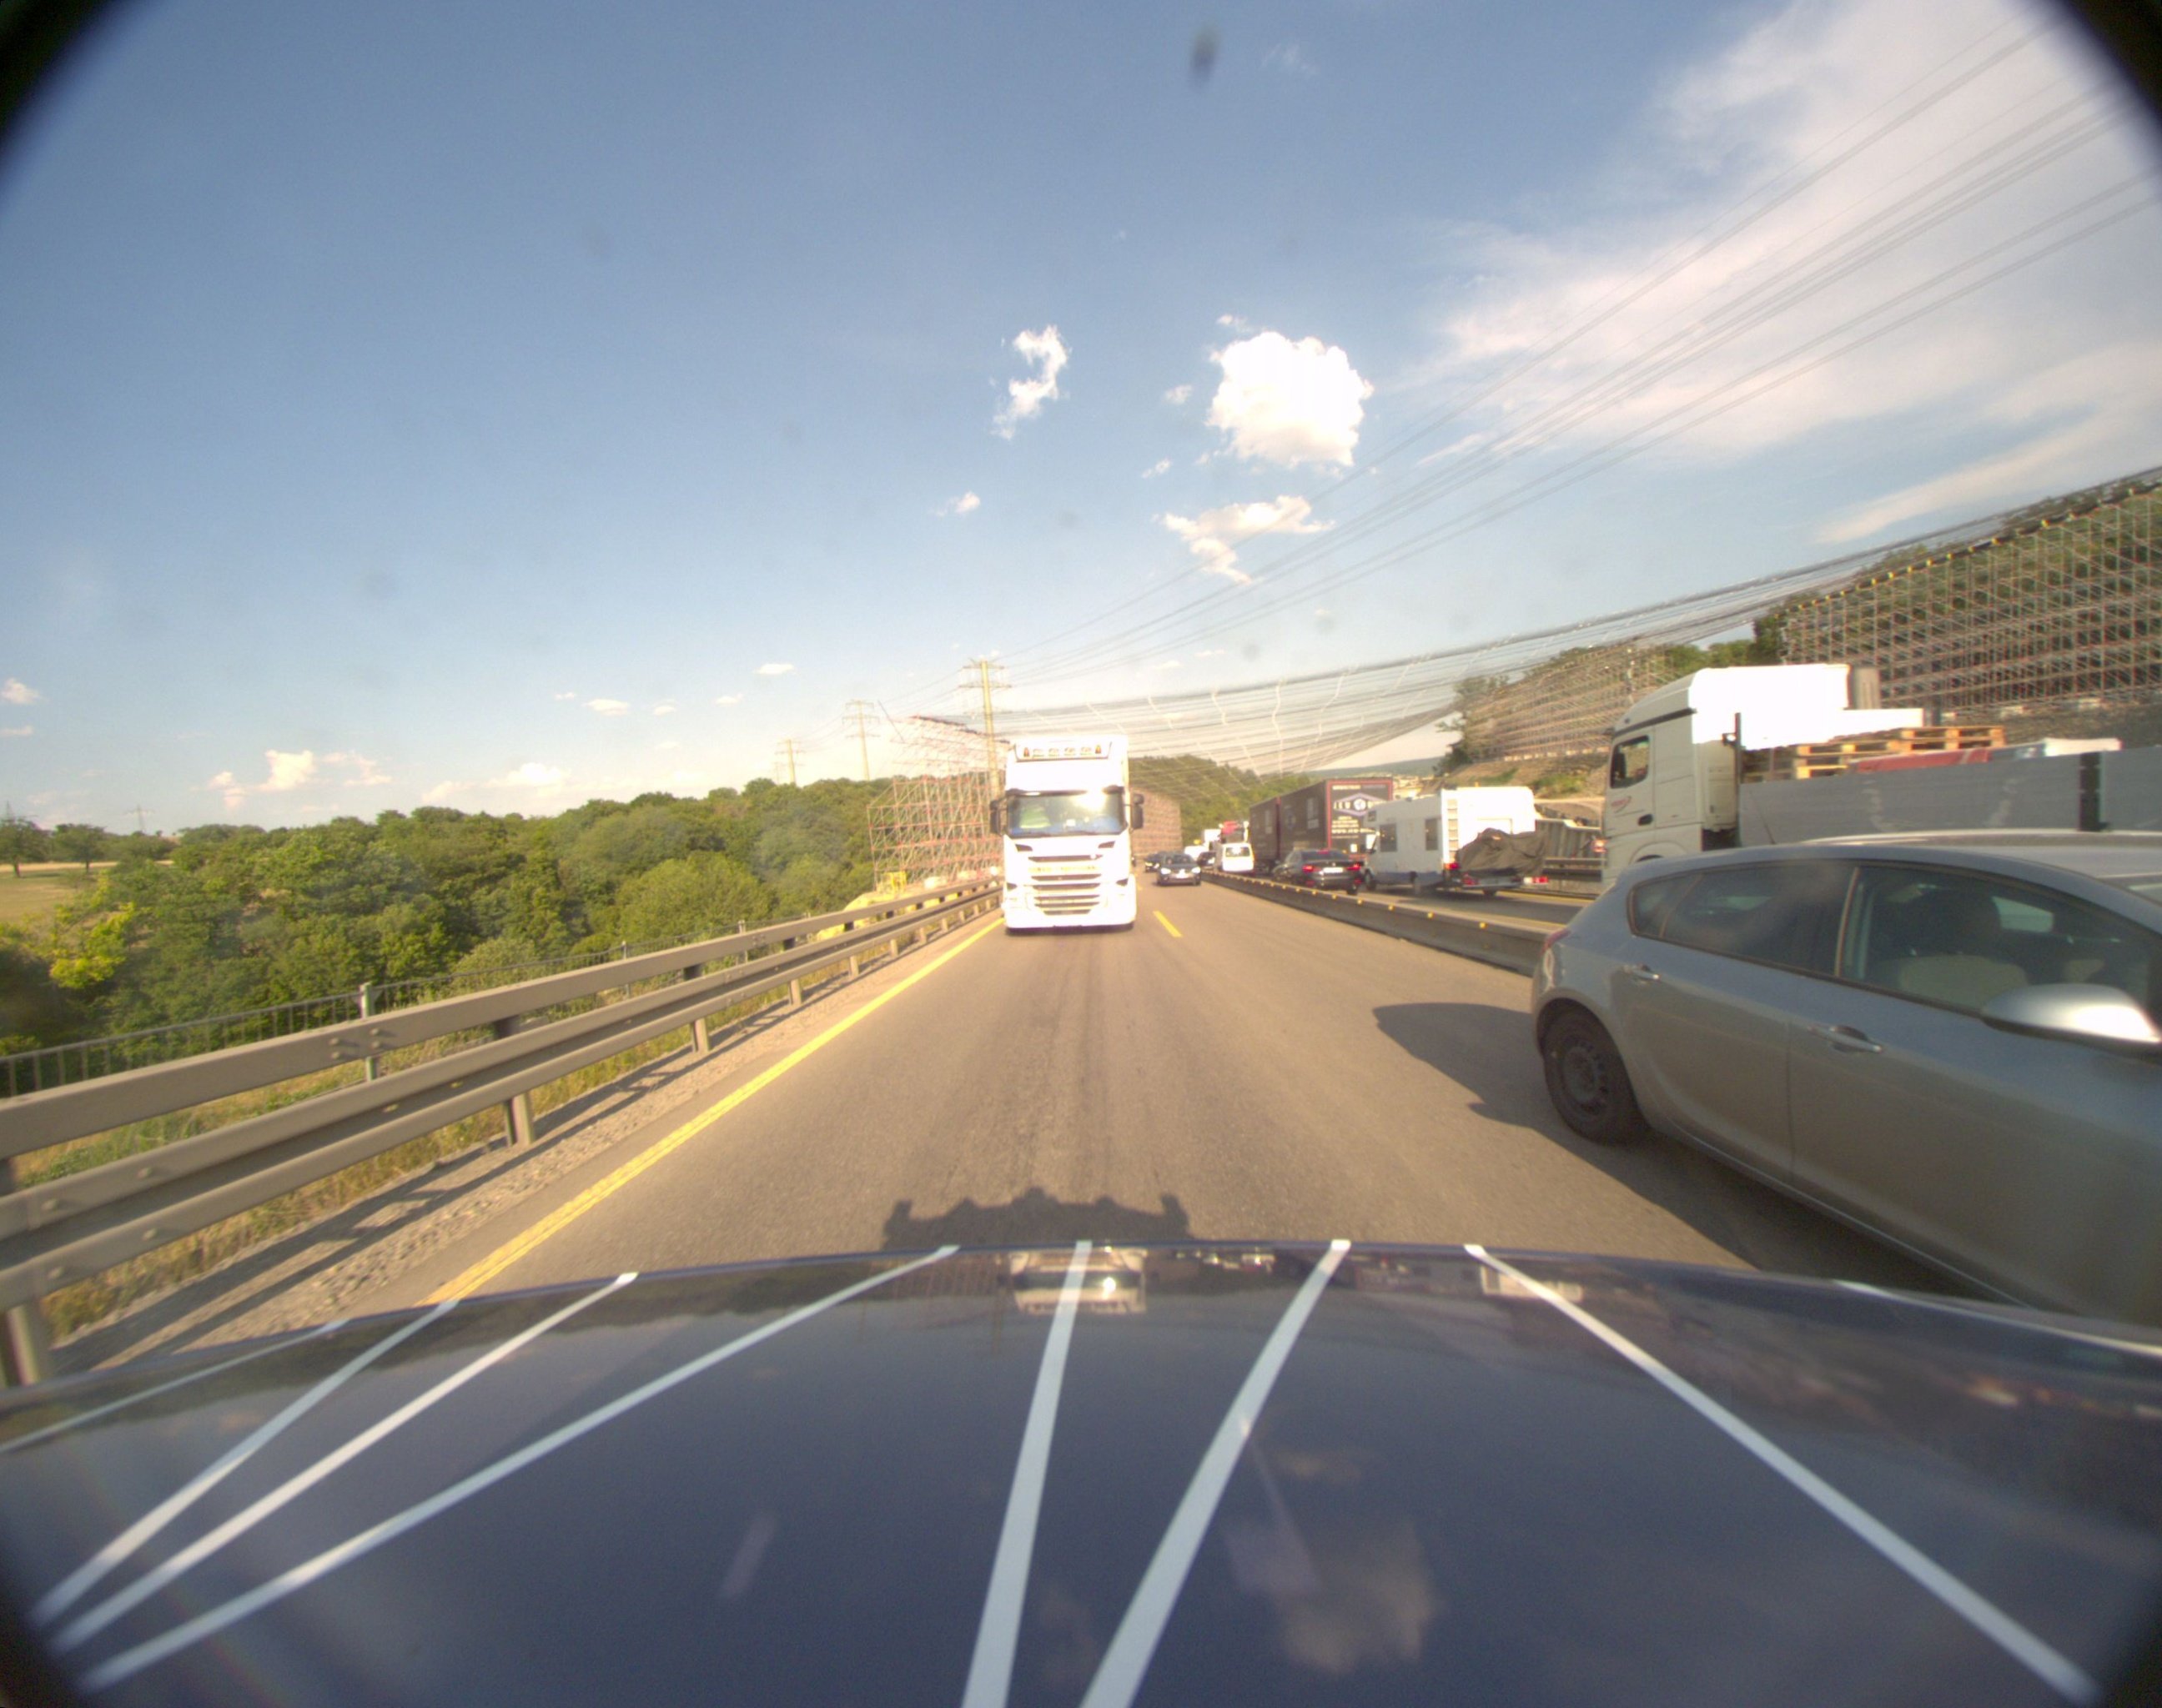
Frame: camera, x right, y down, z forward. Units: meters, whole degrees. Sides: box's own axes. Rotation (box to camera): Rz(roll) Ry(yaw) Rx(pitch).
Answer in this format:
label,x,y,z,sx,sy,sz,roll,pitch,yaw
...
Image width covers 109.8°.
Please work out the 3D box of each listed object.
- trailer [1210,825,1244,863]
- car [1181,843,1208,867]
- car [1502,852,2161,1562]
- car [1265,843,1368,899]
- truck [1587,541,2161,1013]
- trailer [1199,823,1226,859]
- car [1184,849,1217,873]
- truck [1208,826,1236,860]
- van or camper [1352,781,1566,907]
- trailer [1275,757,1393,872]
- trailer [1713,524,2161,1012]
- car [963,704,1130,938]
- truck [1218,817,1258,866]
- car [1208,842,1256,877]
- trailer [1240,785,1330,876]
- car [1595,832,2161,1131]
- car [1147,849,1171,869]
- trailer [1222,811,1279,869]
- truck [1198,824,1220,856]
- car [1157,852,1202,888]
label,x,y,z,sx,sy,sz,roll,pitch,yaw
trailer,14.052,-0.998,73.987,2.311,3.342,12.057,-2,1,7
car,9.644,0.062,64.821,1.821,1.914,4.836,-2,1,3
car,3.207,0.770,2.059,1.760,1.464,4.352,-2,1,1
car,7.102,0.451,23.410,1.798,1.502,4.586,-2,1,1
truck,9.604,-0.672,9.271,2.607,3.732,6.516,-2,1,2
trailer,16.026,-1.565,93.177,2.432,3.940,14.104,-2,1,7
car,7.956,0.423,50.870,1.684,1.470,4.603,-2,1,3
truck,14.781,-1.126,79.800,2.418,3.351,5.619,-2,1,7
van or camper,10.209,-0.268,21.580,2.414,2.875,7.618,-2,1,2
trailer,10.472,-1.508,32.470,2.448,4.165,8.544,-2,1,3
trailer,9.454,-0.651,2.887,2.526,3.703,13.976,-2,1,0
car,-0.349,-0.620,17.691,2.858,4.092,8.282,-2,1,4
truck,12.761,-1.032,62.116,2.438,3.763,5.618,-2,1,4
car,7.885,0.265,40.044,1.761,1.685,4.454,-2,1,3
trailer,10.949,-1.208,41.985,2.481,4.303,10.511,-2,1,3
car,6.391,0.617,5.997,1.763,1.499,4.254,-2,1,0
car,5.909,0.351,57.980,1.675,1.376,3.823,-2,1,4
trailer,12.357,-0.988,56.377,2.312,3.768,12.055,-2,1,4
truck,16.789,-1.802,100.199,2.478,4.022,5.619,-2,1,7
car,4.299,0.663,33.618,1.764,1.376,3.823,-2,1,4
